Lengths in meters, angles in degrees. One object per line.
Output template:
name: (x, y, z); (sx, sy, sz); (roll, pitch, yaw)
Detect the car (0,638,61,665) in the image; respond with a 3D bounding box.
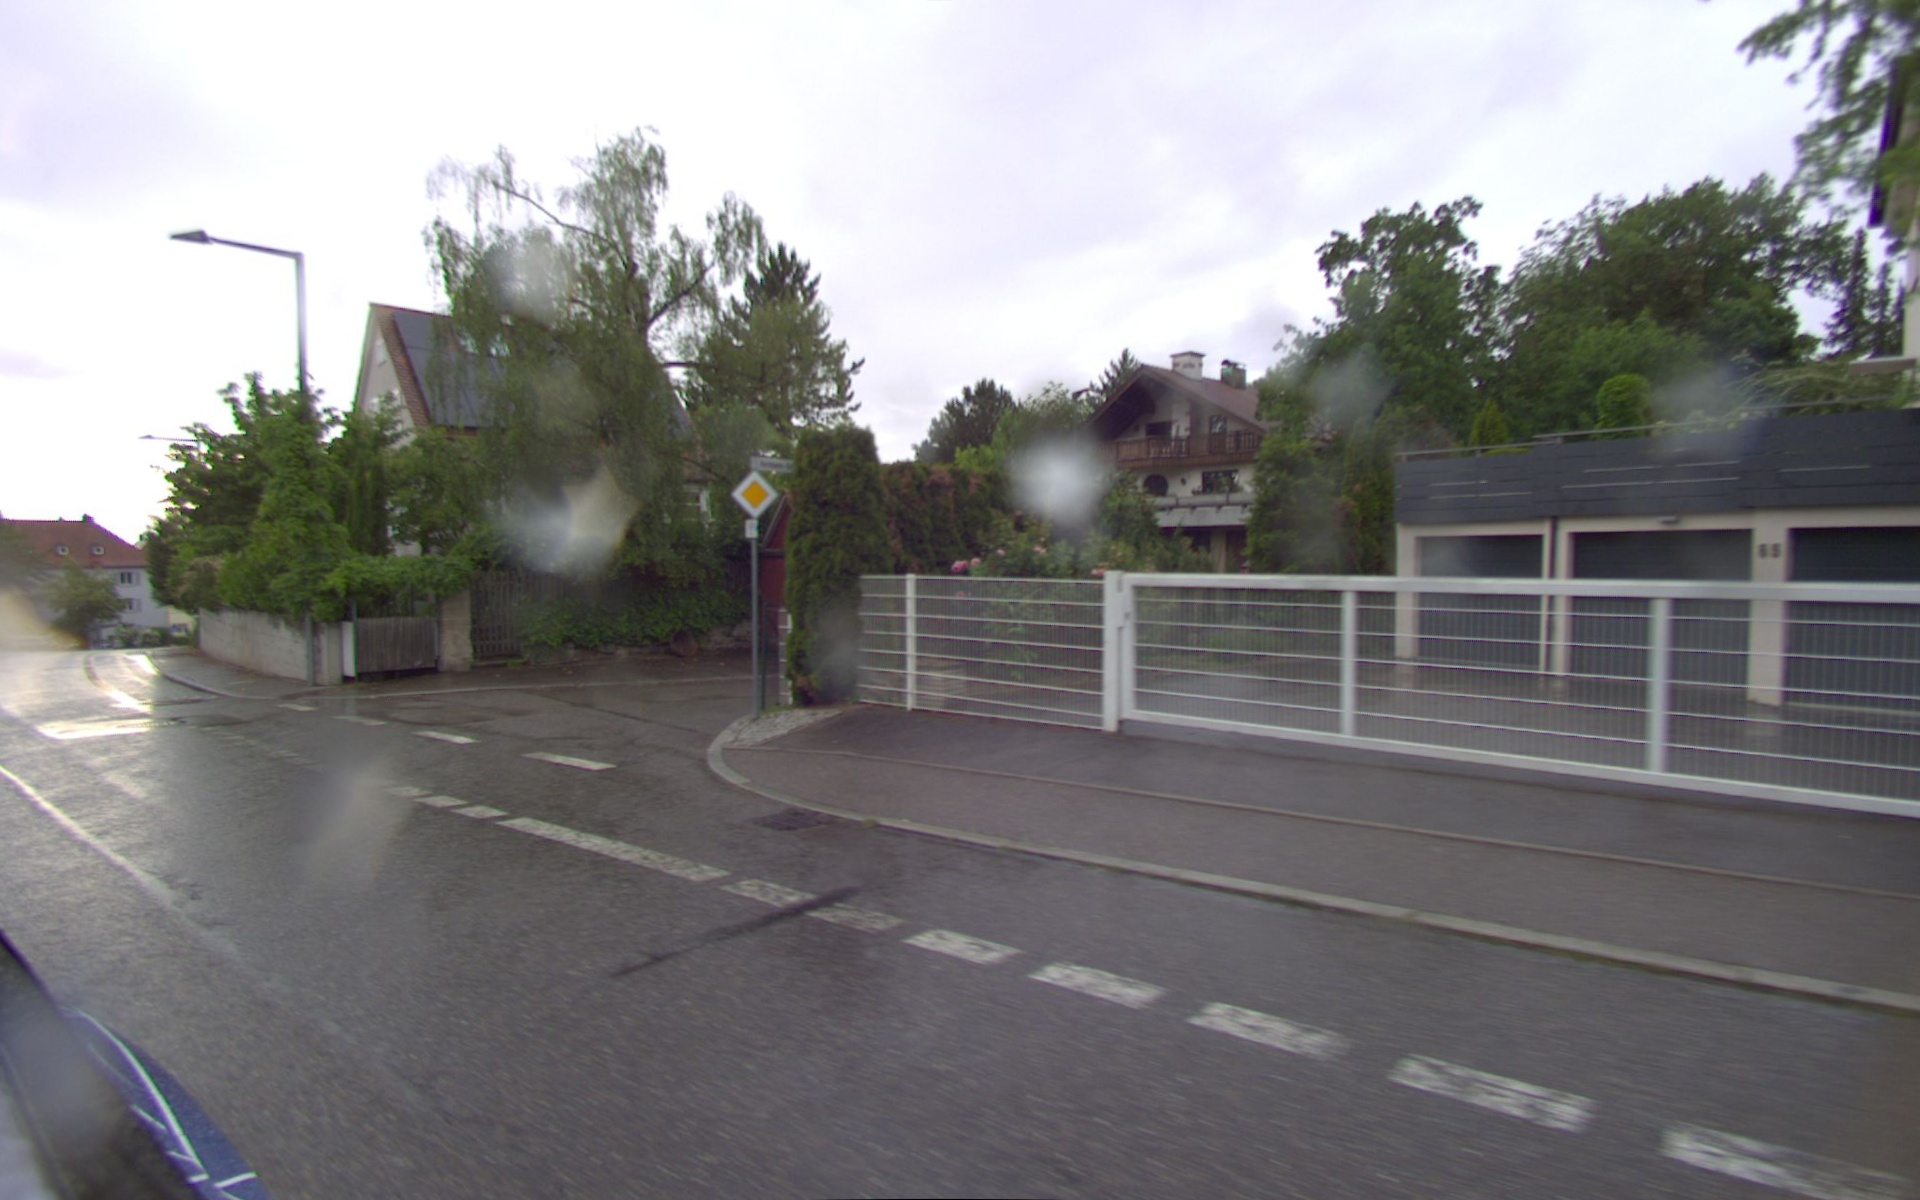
car: (-63.343, 3.488, 67.823); (4.468, 1.673, 1.859); (0, -4, -38)

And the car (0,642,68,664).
car: (-66.267, 3.779, 72.187); (3.692, 1.470, 1.729); (0, -3, -33)

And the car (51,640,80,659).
car: (-85.736, 4.755, 96.993); (1.770, 1.605, 4.260); (3, -1, -44)

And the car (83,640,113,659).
car: (-84.404, 4.833, 99.060); (3.793, 1.575, 1.701); (2, -1, 41)
